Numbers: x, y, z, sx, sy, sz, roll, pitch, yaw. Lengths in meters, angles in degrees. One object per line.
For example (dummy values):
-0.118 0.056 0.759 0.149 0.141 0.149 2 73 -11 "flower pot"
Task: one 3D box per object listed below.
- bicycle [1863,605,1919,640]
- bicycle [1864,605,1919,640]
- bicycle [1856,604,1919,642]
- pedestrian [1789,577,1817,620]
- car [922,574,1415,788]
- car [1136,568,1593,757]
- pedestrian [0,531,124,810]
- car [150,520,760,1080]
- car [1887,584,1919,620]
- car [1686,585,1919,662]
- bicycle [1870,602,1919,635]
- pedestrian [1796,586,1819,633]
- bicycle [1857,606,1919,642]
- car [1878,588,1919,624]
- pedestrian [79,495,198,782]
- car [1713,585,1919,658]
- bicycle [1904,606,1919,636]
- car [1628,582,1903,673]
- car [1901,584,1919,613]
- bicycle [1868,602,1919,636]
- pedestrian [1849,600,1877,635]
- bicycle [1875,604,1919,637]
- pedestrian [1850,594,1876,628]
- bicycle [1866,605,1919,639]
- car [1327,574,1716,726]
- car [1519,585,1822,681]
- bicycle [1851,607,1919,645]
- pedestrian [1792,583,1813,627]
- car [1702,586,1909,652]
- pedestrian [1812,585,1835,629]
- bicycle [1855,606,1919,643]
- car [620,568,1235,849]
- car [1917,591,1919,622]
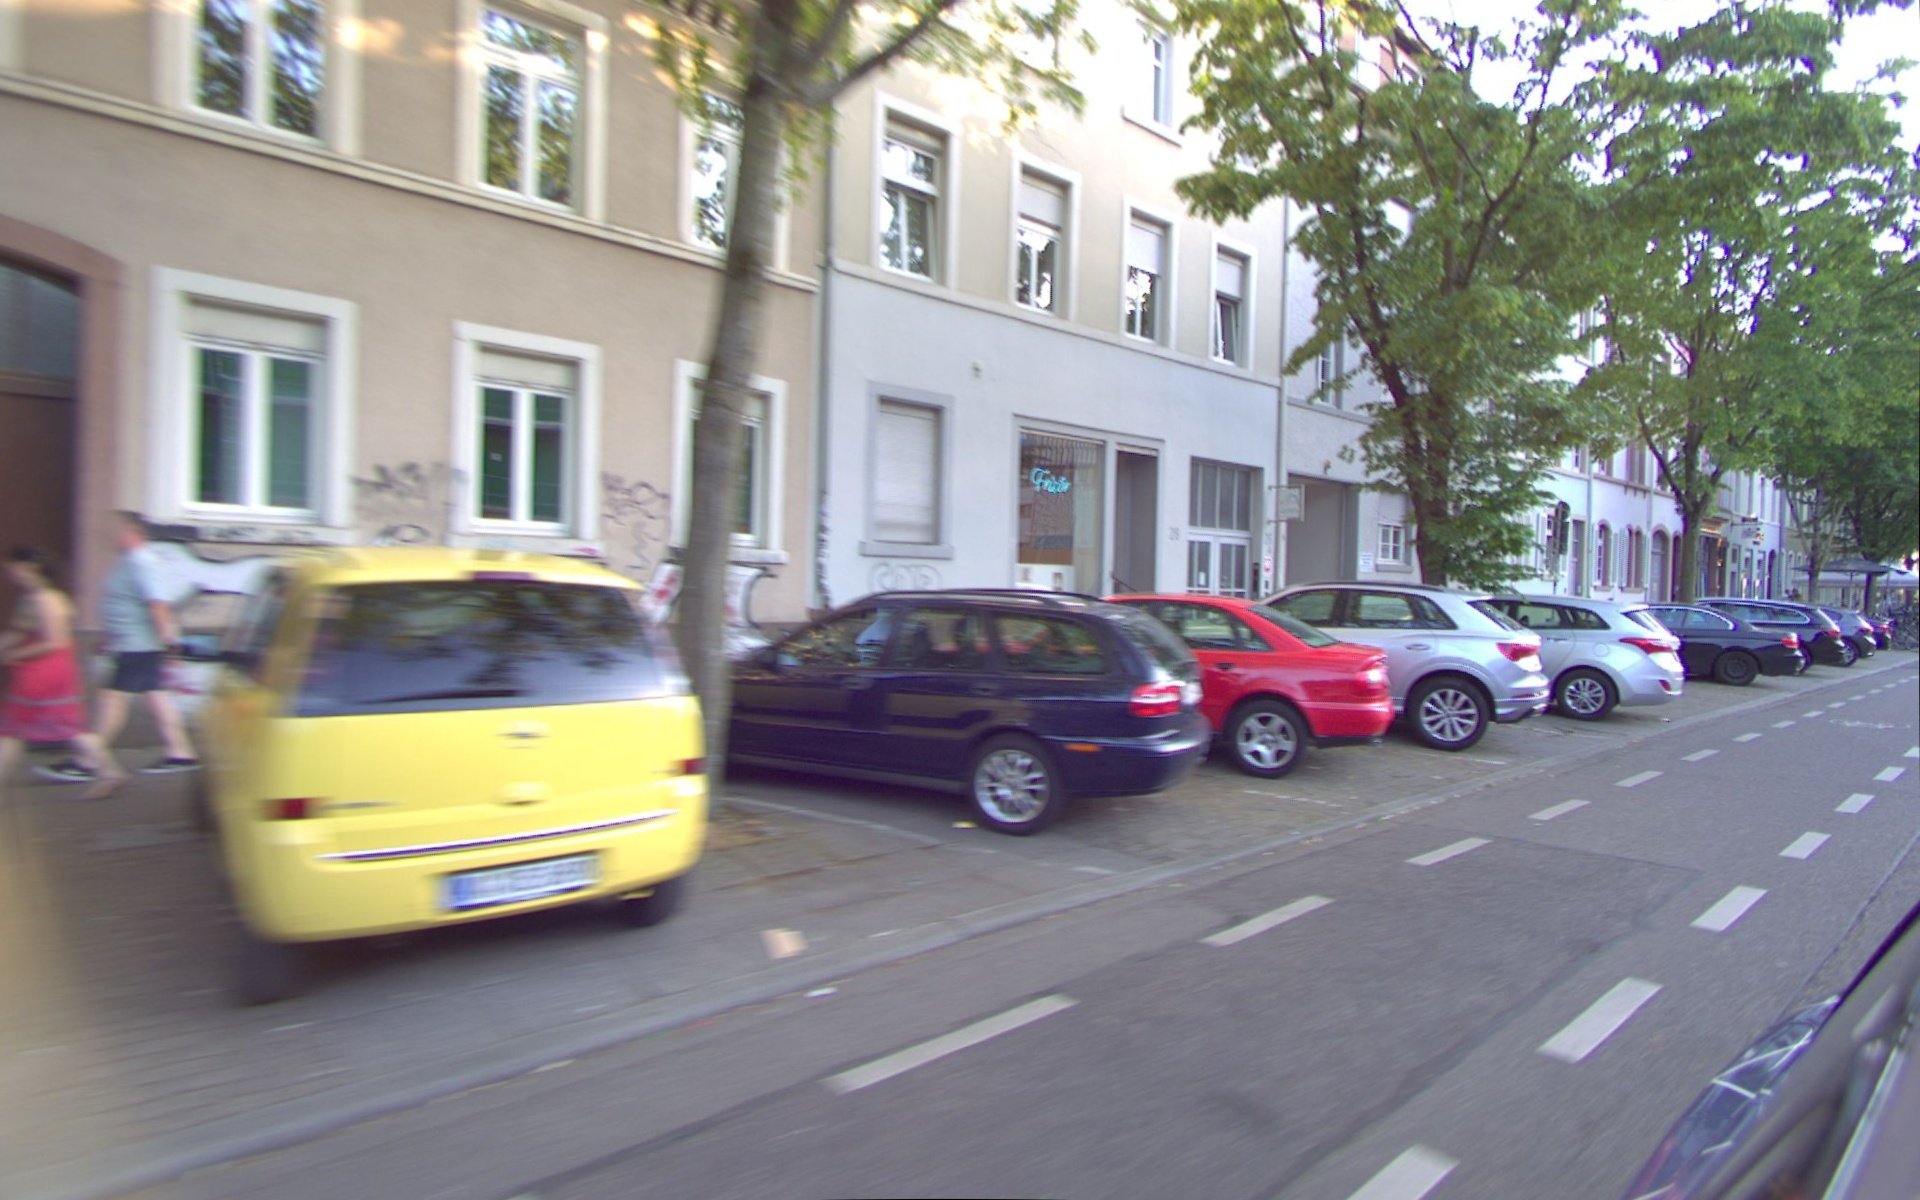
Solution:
31.444 0.771 33.719 0.598 1.044 1.890 1 4 -42 "bicycle"
31.915 0.773 34.243 0.598 1.044 1.890 1 4 -42 "bicycle"
30.416 0.764 32.844 0.663 1.080 1.890 1 4 -42 "bicycle"
35.566 -0.083 42.696 0.696 1.785 0.710 1 0 22 "pedestrian"
1.901 0.564 9.305 4.091 1.442 1.882 3 3 25 "car"
4.255 0.514 11.016 4.224 1.579 1.880 3 3 27 "car"
-5.518 0.393 6.041 0.799 1.587 0.539 0 1 -39 "pedestrian"
-2.815 0.472 5.075 1.887 1.639 3.960 0 3 -40 "car"
50.509 0.183 51.699 4.112 1.828 1.994 3 2 22 "car"
20.497 0.507 24.887 4.101 1.488 1.802 5 3 33 "car"
33.421 0.665 35.686 0.598 1.044 1.890 1 4 -42 "bicycle"
32.362 0.363 38.633 0.878 1.785 0.551 0 0 -41 "pedestrian"
30.921 0.798 33.366 0.598 1.044 1.890 1 4 -42 "bicycle"
44.875 0.336 46.231 3.933 1.572 1.692 3 2 25 "car"
-5.574 0.238 6.873 0.596 1.837 0.567 0 1 -41 "pedestrian"
22.292 0.496 26.492 3.936 1.488 1.977 5 3 34 "car"
35.371 0.826 36.624 0.547 1.044 1.682 1 4 -42 "bicycle"
16.854 0.504 21.486 4.088 1.488 1.998 5 3 25 "car"
65.218 0.006 66.140 4.943 1.849 2.183 4 3 32 "car"
32.956 0.675 35.229 0.598 1.044 1.890 1 4 -42 "bicycle"
34.329 0.651 38.467 0.588 1.308 0.504 1 0 -2 "pedestrian"
33.958 0.754 36.123 0.598 1.044 1.819 1 4 -42 "bicycle"
36.618 0.443 41.047 0.546 1.322 0.710 2 1 22 "pedestrian"
32.431 0.762 34.723 0.598 1.044 1.890 1 4 -42 "bicycle"
7.393 0.519 13.529 4.245 1.568 1.991 4 3 39 "car"
12.891 0.533 18.751 4.220 1.409 1.999 3 2 25 "car"
29.497 0.812 31.982 0.524 1.044 1.907 1 4 -42 "bicycle"
34.444 0.193 41.389 0.548 1.785 0.843 1 0 32 "pedestrian"
23.561 0.470 28.441 4.145 1.443 1.803 5 3 32 "car"
35.152 0.273 41.204 0.548 1.785 0.707 1 1 32 "pedestrian"
29.941 0.779 32.348 0.581 1.044 1.867 1 4 -43 "bicycle"
-0.239 0.559 7.423 4.091 1.442 1.905 3 3 25 "car"
55.440 0.535 55.146 1.974 1.708 4.655 1 3 -44 "car"
